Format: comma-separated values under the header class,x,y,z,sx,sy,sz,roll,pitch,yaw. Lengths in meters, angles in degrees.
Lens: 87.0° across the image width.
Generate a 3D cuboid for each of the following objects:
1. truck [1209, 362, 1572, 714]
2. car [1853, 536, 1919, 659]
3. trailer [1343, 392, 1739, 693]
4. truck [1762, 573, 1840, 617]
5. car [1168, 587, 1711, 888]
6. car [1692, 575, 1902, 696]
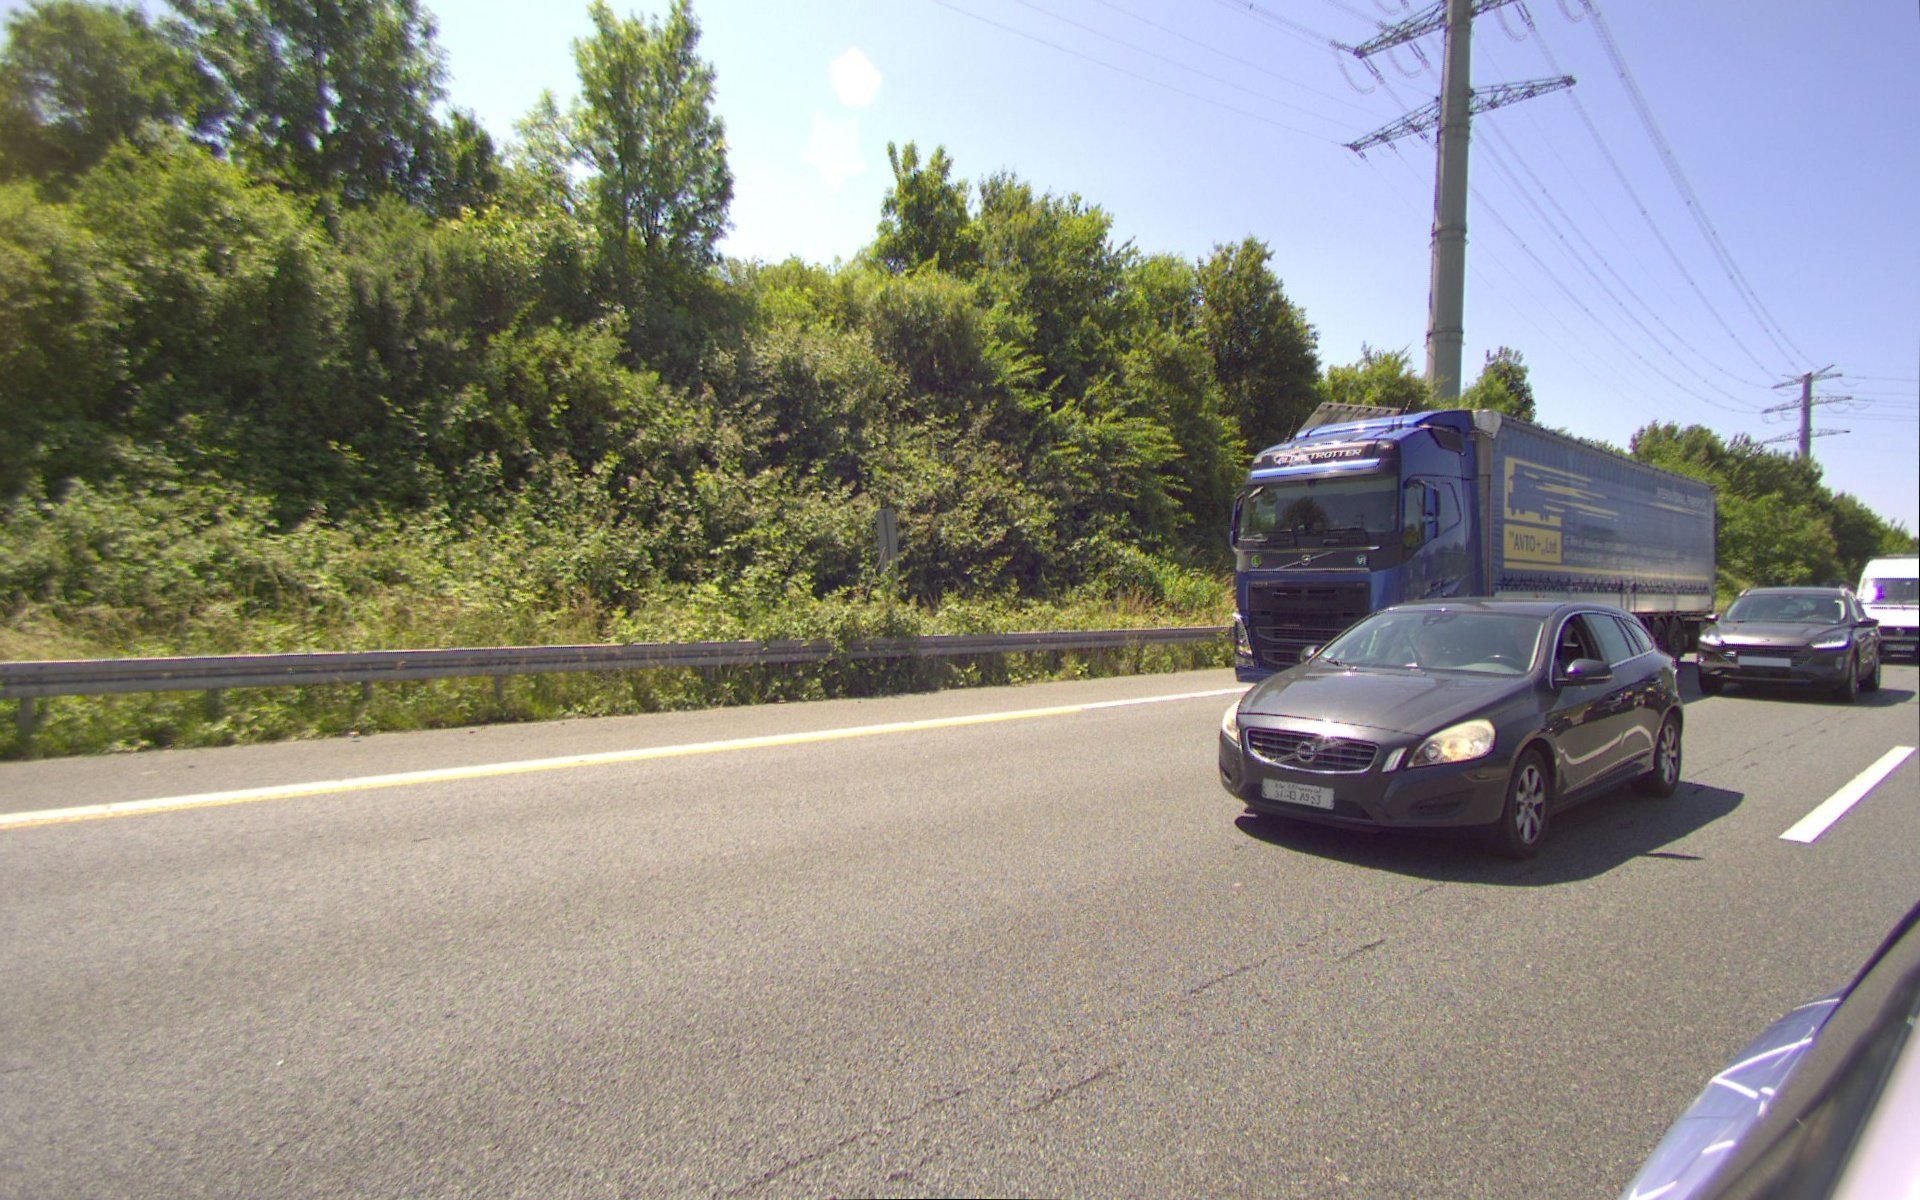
class,x,y,z,sx,sy,sz,roll,pitch,yaw
truck,6.486,-0.765,14.921,5.538,4.197,2.790,-1,0,-41
car,23.803,-0.086,24.827,6.590,2.753,2.040,-1,0,-41
trailer,11.948,-0.881,19.751,12.655,4.317,2.771,-1,0,-41
truck,43.865,-0.273,52.731,5.628,2.195,2.251,-1,0,-41
car,3.529,0.638,7.004,4.432,1.437,1.798,-1,0,-41
car,13.124,0.460,15.789,4.147,1.631,1.891,-1,0,-41
